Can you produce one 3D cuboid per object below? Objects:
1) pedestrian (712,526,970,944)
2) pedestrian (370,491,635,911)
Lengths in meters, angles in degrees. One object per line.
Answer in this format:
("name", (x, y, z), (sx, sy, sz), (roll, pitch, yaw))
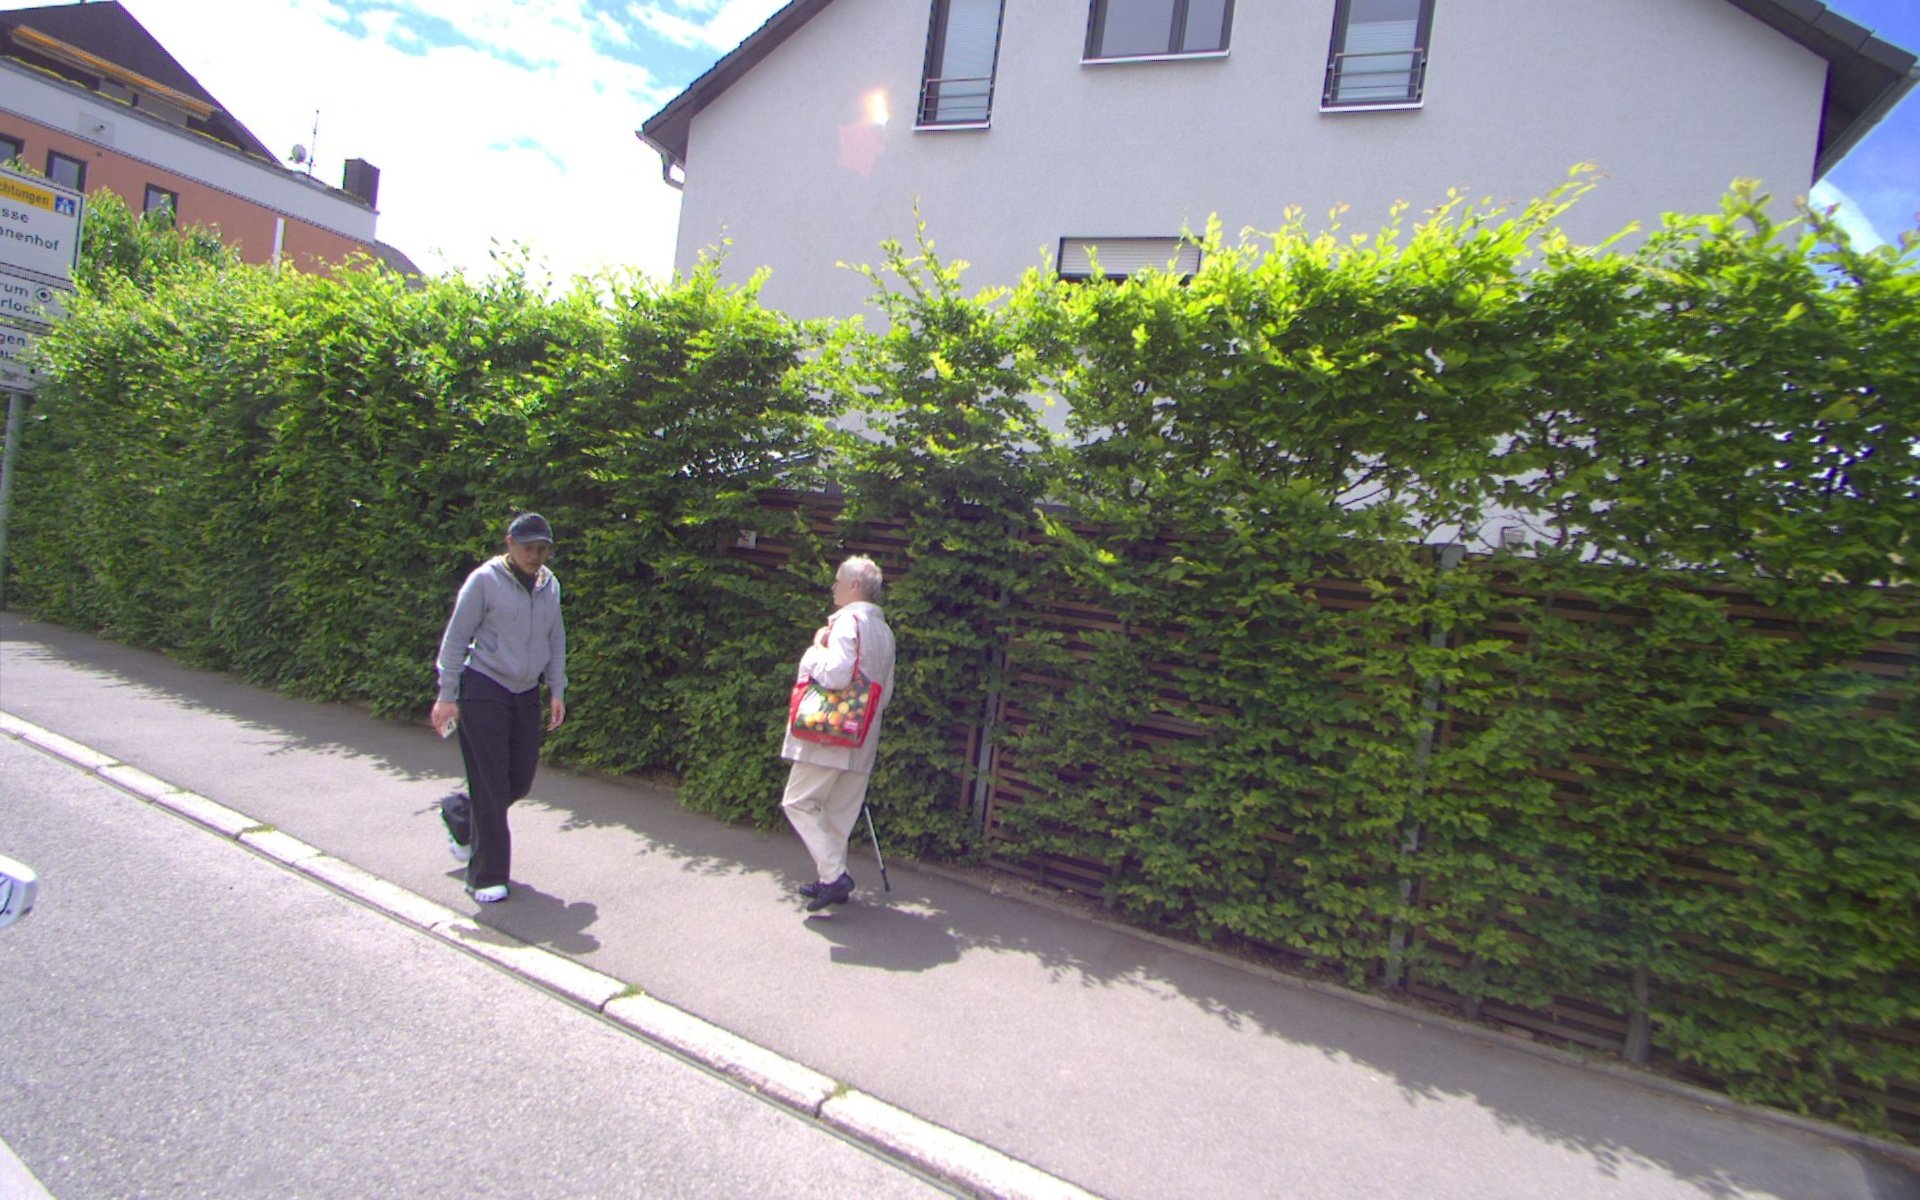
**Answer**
("pedestrian", (-0.517, 0.551, 4.517), (0.642, 1.638, 0.799), (7, 2, 32))
("pedestrian", (-2.013, 0.391, 4.426), (0.822, 1.627, 0.602), (7, 3, 32))
